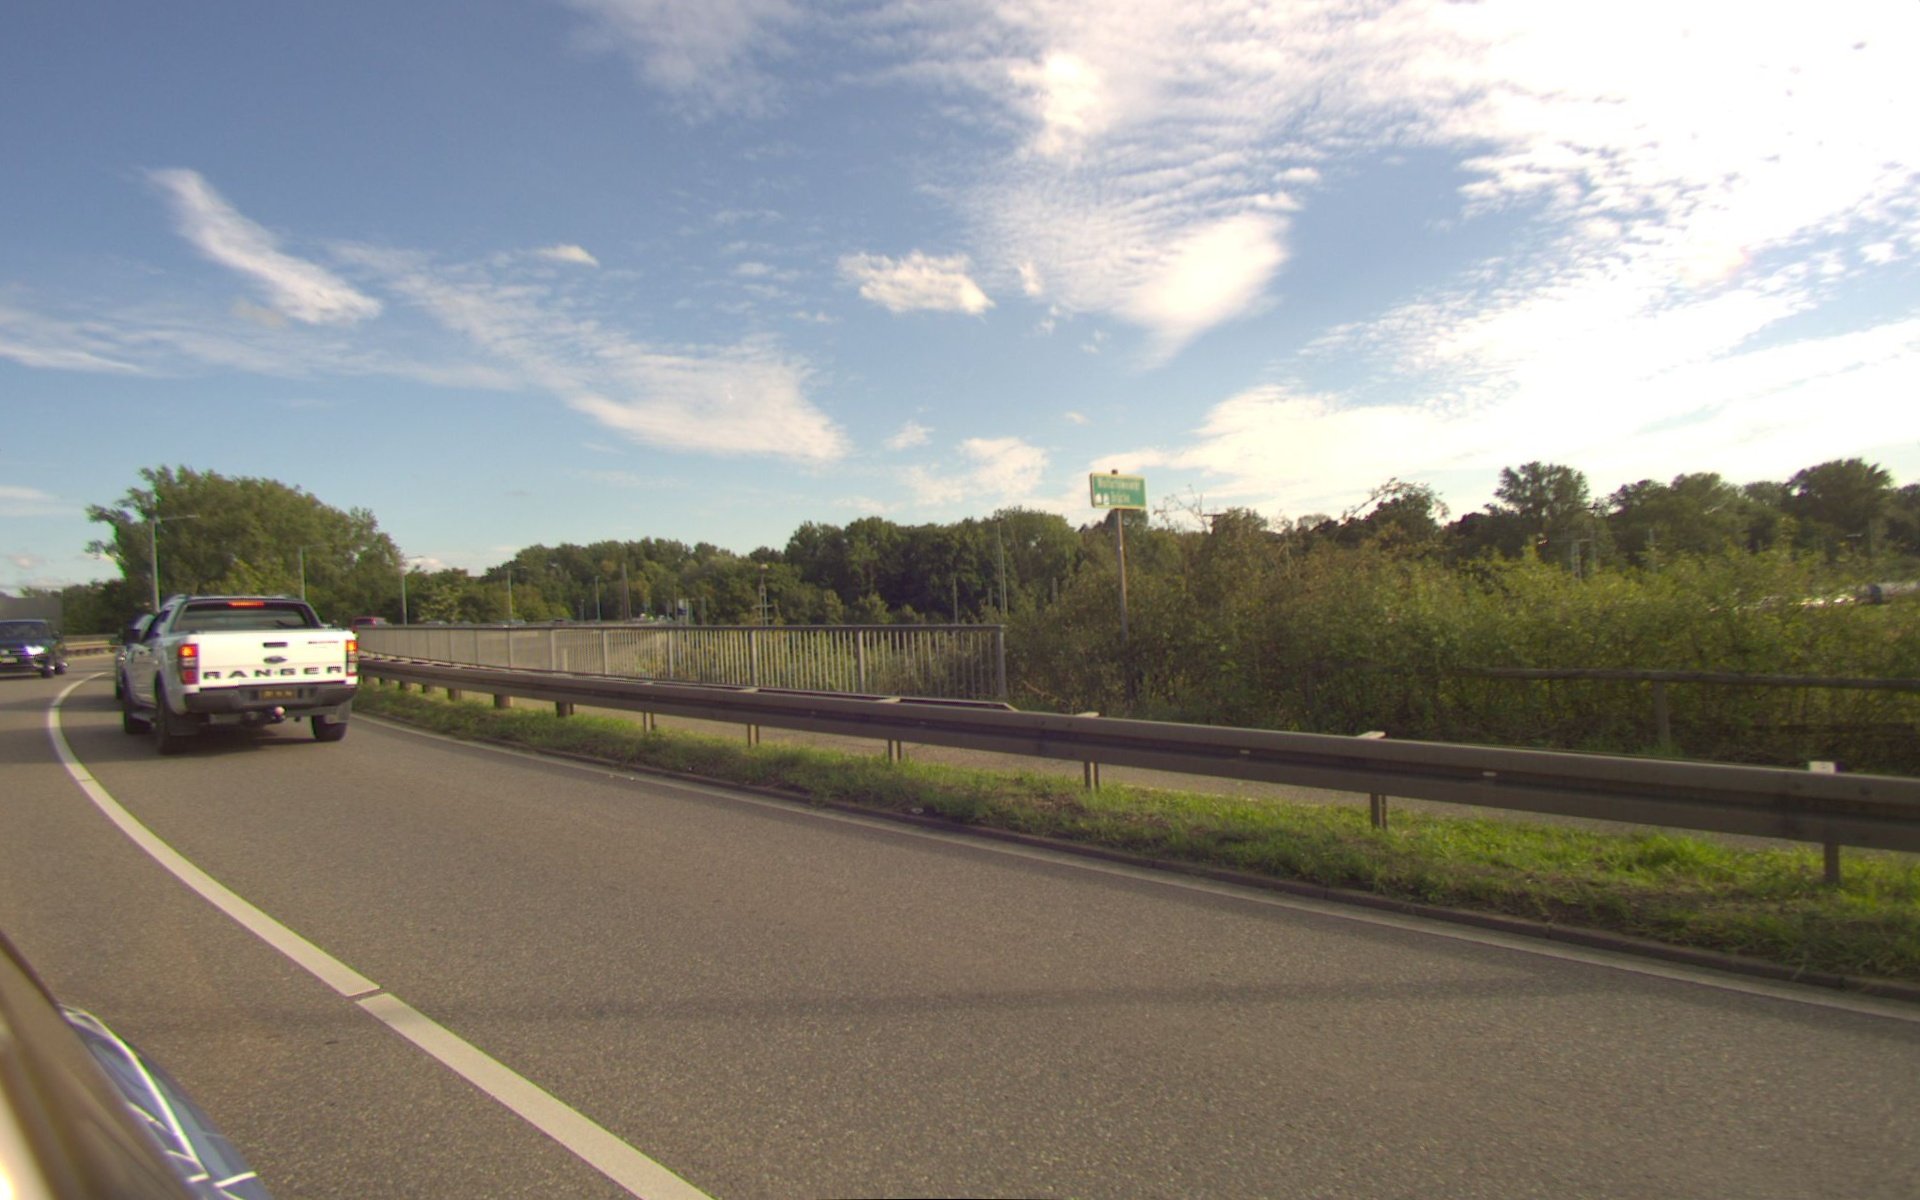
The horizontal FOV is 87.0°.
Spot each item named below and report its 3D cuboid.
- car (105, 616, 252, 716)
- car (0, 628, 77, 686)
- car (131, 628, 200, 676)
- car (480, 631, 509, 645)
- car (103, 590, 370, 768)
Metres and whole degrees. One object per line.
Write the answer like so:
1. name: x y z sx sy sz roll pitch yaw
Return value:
1. car: -14.953 1.170 19.271 1.866 1.662 4.647 0 -2 -42
2. car: -26.536 1.564 28.469 1.789 1.518 4.404 0 -1 -31
3. car: -25.919 1.653 33.090 1.578 1.475 3.745 0 -2 -35
4. car: -52.244 4.250 113.654 1.719 1.512 4.082 -1 -1 -5
5. car: -9.454 0.866 12.993 5.406 1.824 1.879 -2 -1 44
